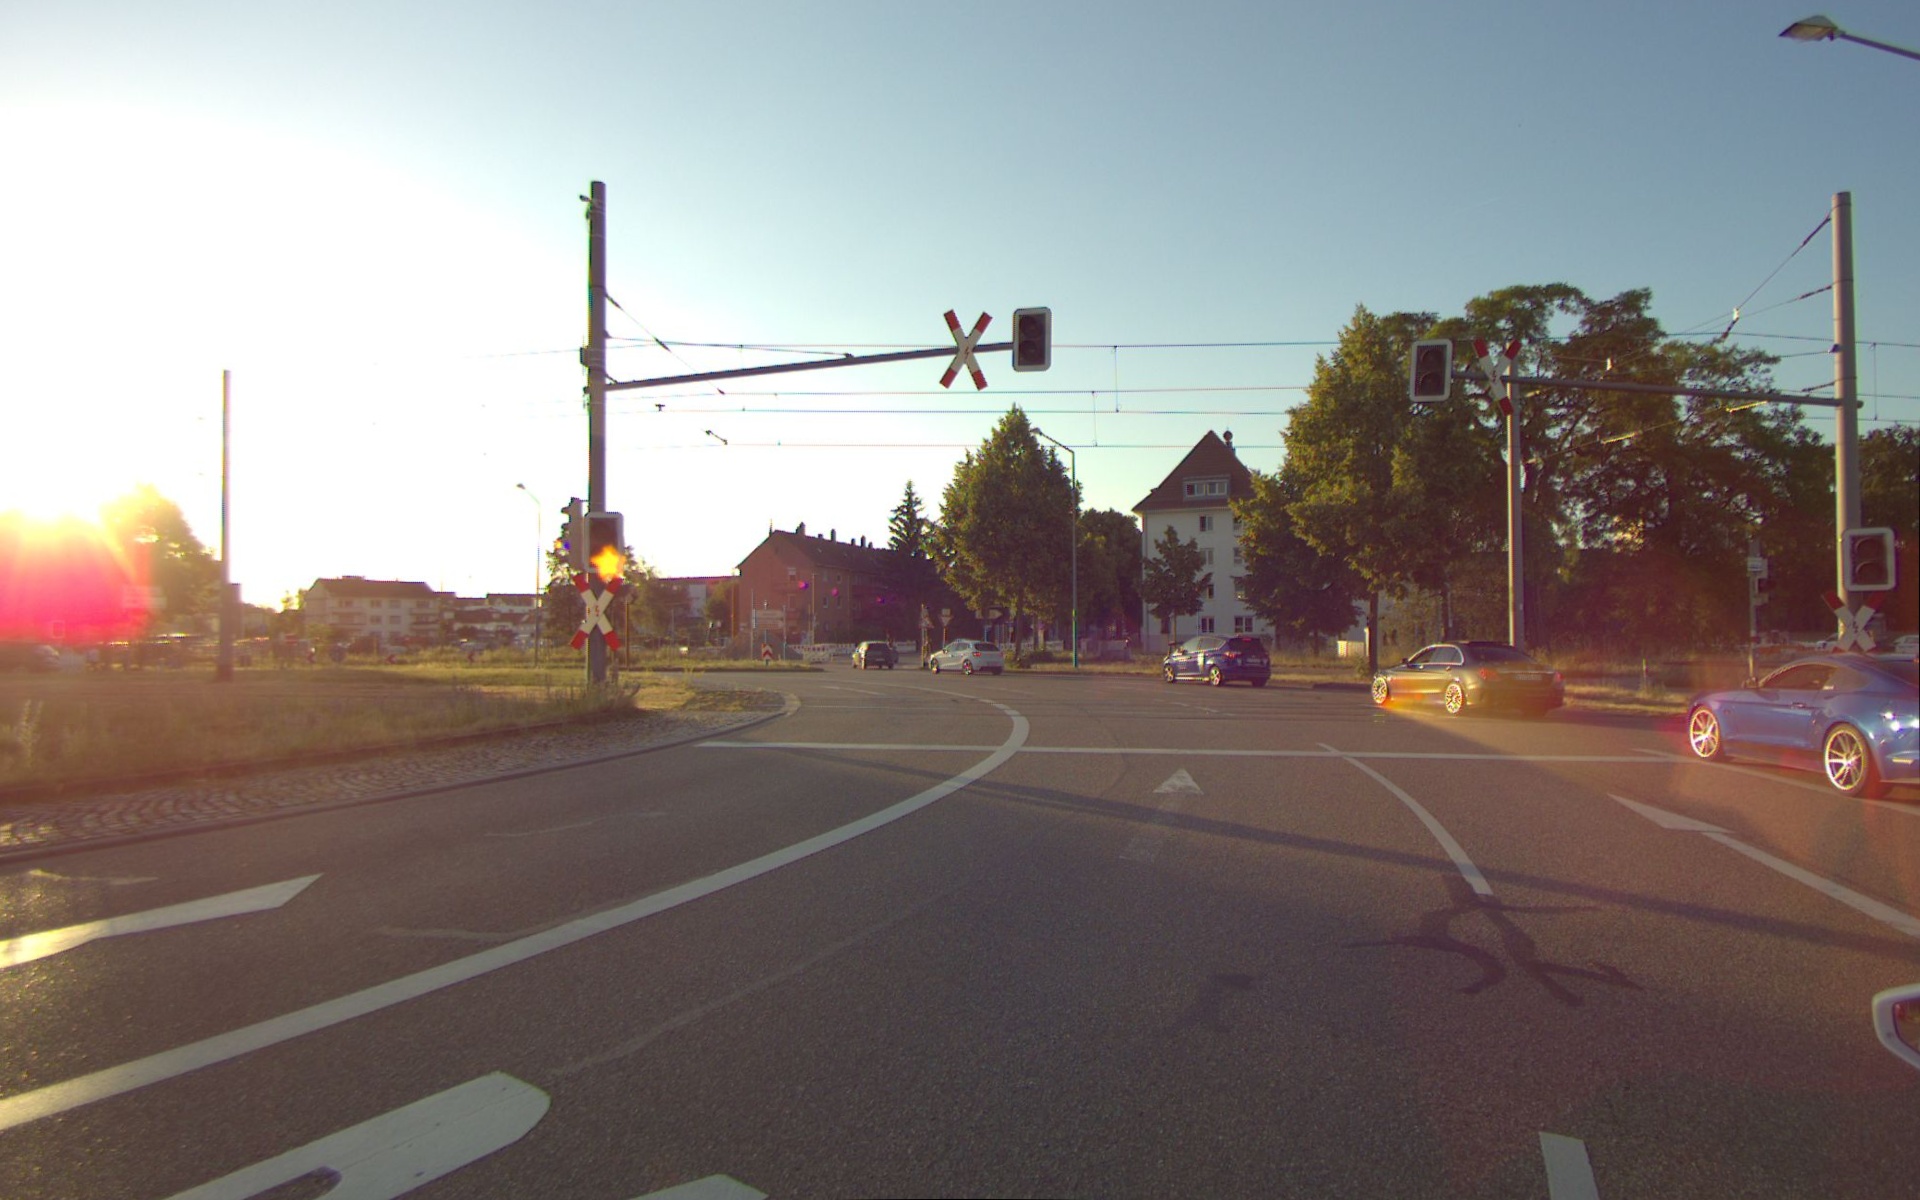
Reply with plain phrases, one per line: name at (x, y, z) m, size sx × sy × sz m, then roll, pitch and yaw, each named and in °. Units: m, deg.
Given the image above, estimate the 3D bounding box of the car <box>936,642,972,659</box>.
car at (-0.500, 4.359, 87.027) m, size 1.845 × 1.420 × 3.916 m, roll -1°, pitch -2°, yaw 21°

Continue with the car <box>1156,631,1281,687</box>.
car at (8.163, 1.833, 32.081) m, size 1.928 × 1.623 × 4.059 m, roll 1°, pitch -1°, yaw -20°

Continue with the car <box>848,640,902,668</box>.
car at (-4.649, 2.882, 54.184) m, size 1.854 × 1.420 × 3.897 m, roll 0°, pitch -2°, yaw -22°

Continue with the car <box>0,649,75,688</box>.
car at (-38.135, 2.702, 39.717) m, size 4.253 × 1.451 × 1.937 m, roll 0°, pitch -2°, yaw -19°

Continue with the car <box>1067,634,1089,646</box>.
car at (14.827, 5.003, 126.210) m, size 1.845 × 1.420 × 3.917 m, roll -1°, pitch -2°, yaw 19°

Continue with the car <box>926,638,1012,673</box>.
car at (0.331, 2.387, 43.592) m, size 1.863 × 1.420 × 3.879 m, roll 1°, pitch -2°, yaw -35°

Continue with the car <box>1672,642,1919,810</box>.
car at (9.538, 1.152, 10.429) m, size 1.918 × 1.359 × 4.673 m, roll 0°, pitch -2°, yaw 14°

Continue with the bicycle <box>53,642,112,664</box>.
bicycle at (-48.926, 2.951, 56.042) m, size 2.384 × 1.182 × 0.748 m, roll 1°, pitch -2°, yaw -34°

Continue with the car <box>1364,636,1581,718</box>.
car at (10.243, 1.488, 20.528) m, size 1.920 × 1.446 × 4.427 m, roll 1°, pitch -2°, yaw -5°

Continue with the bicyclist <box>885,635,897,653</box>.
bicyclist at (-6.439, 4.126, 93.941) m, size 0.740 × 1.633 × 0.978 m, roll -1°, pitch -2°, yaw 22°

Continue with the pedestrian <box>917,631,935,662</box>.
pedestrian at (-1.909, 2.576, 56.177) m, size 0.869 × 1.708 × 0.847 m, roll -1°, pitch -2°, yaw 5°

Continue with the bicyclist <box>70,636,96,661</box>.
bicyclist at (-48.906, 2.708, 56.041) m, size 0.968 × 1.412 × 0.748 m, roll 1°, pitch -2°, yaw -33°

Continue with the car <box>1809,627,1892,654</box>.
car at (50.559, 2.305, 57.133) m, size 1.913 × 1.464 × 4.003 m, roll -1°, pitch -2°, yaw 15°

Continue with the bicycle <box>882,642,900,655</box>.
bicycle at (-6.458, 4.539, 93.939) m, size 0.740 × 1.182 × 2.409 m, roll -1°, pitch -2°, yaw 22°

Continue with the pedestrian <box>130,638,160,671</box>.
pedestrian at (-46.562, 3.118, 57.378) m, size 1.148 × 1.851 × 0.972 m, roll 1°, pitch -2°, yaw -29°

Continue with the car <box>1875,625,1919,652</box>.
car at (53.318, 2.130, 55.850) m, size 1.913 × 1.464 × 4.003 m, roll -1°, pitch -2°, yaw 15°
